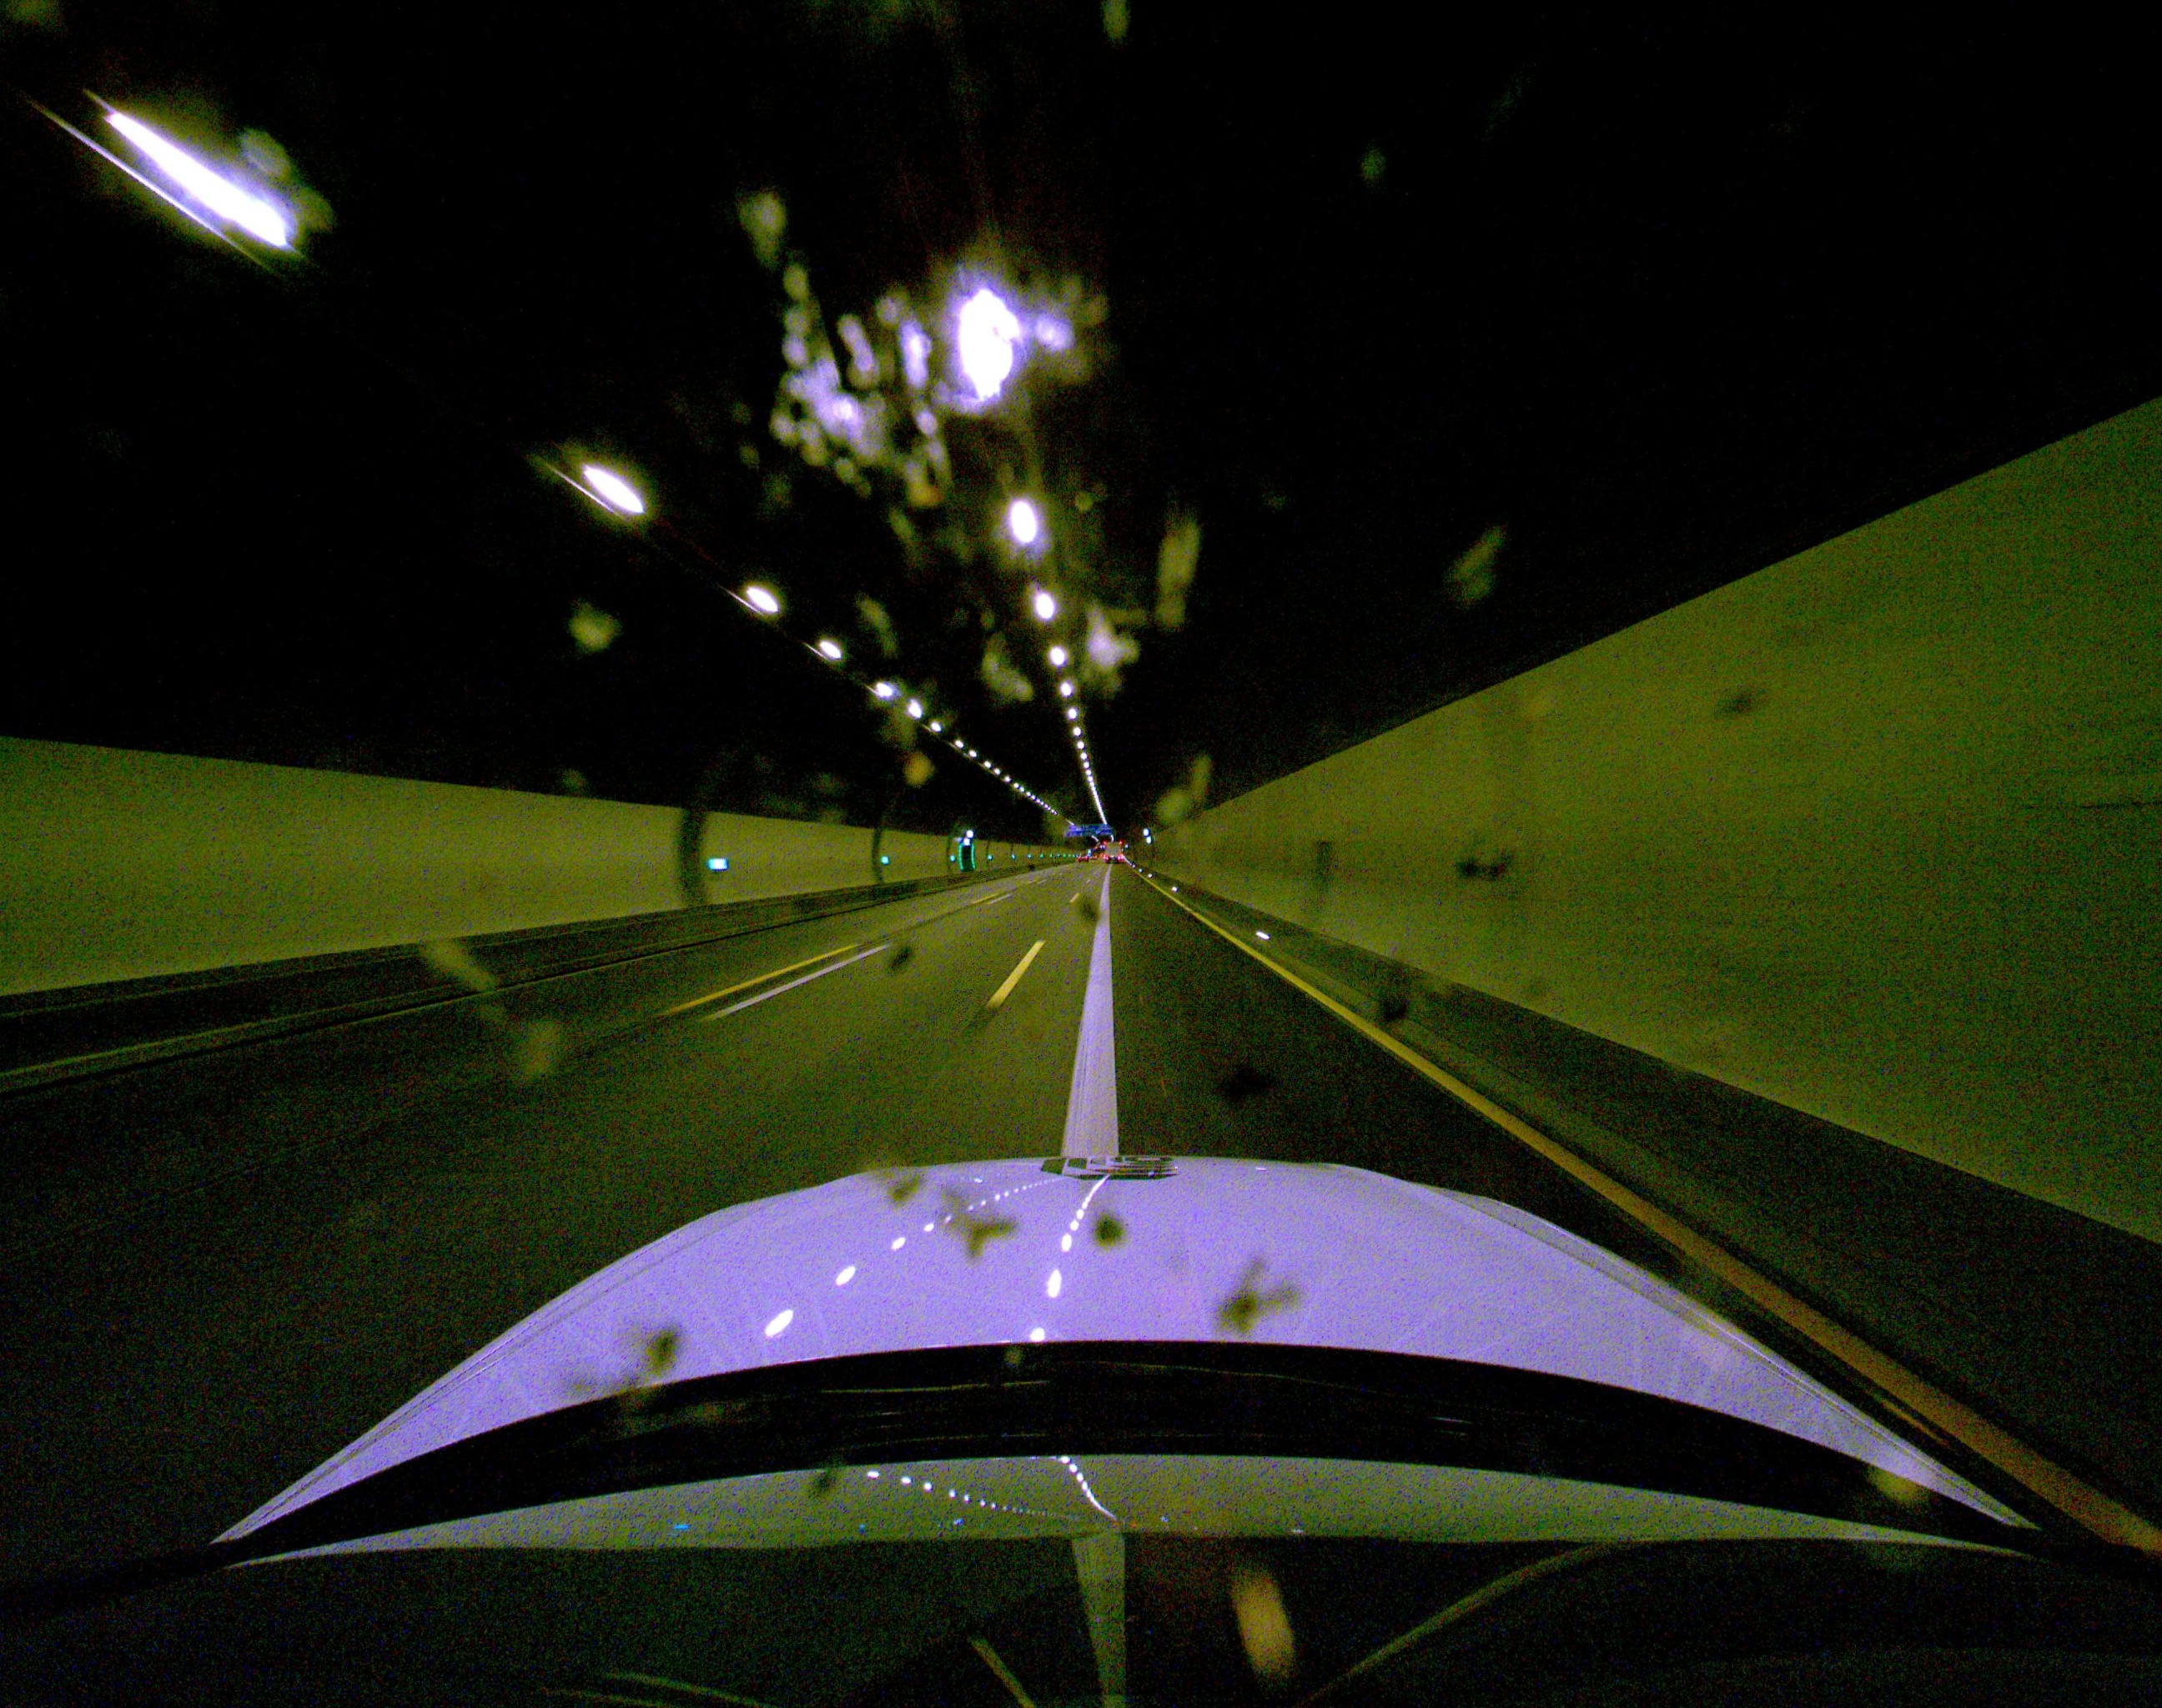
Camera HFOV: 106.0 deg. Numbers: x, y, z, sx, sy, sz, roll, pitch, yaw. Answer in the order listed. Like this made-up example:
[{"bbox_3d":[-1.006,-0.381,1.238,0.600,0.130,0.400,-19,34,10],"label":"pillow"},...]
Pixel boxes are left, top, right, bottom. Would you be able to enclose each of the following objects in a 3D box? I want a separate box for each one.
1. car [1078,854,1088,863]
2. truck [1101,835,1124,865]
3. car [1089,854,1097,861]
[{"bbox_3d":[0.305,0.774,152.560,1.807,1.618,4.000,-1,0,0],"label":"car"},{"bbox_3d":[5.101,-0.616,135.668,3.267,4.650,17.287,-2,0,1],"label":"truck"},{"bbox_3d":[2.999,0.953,208.367,1.807,1.520,3.999,-1,2,-1],"label":"car"}]
